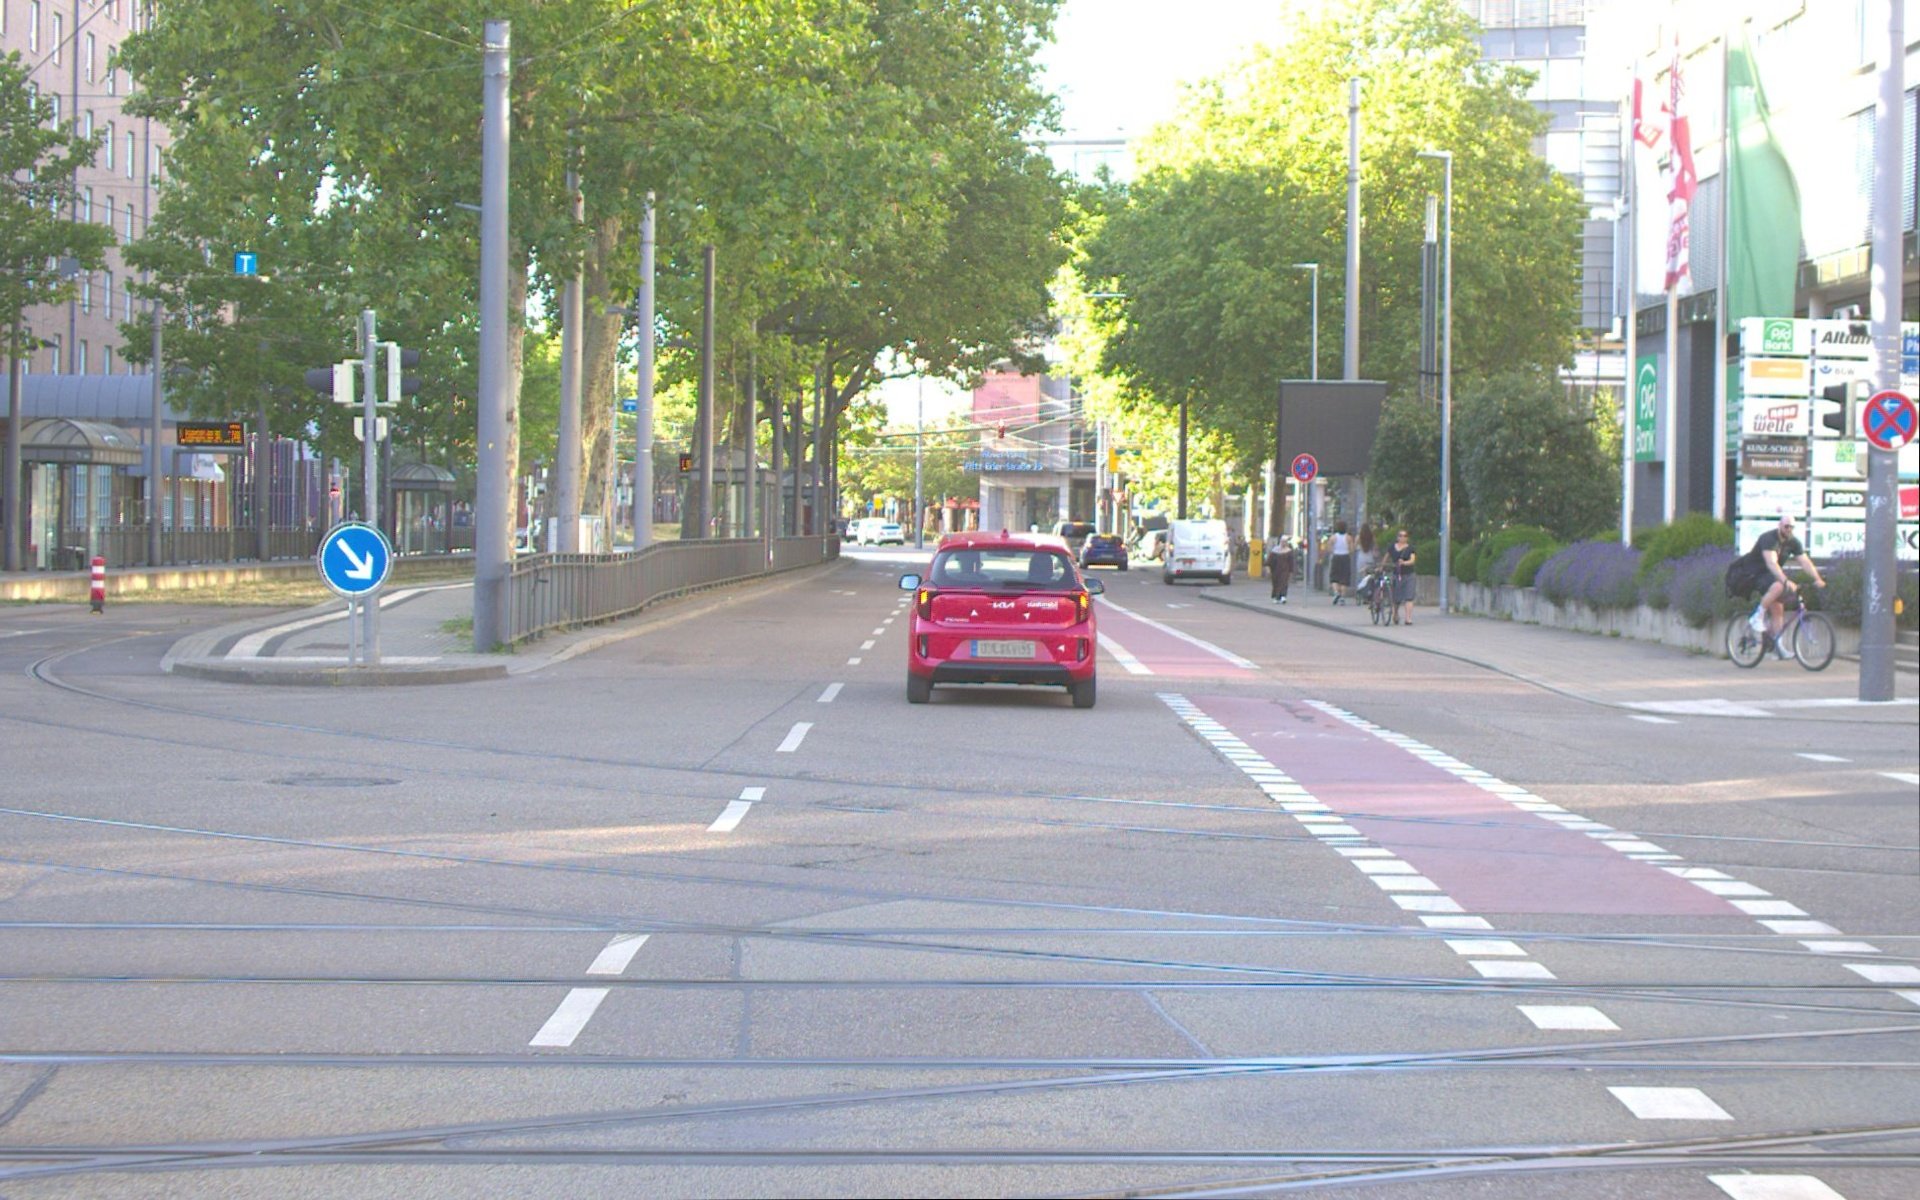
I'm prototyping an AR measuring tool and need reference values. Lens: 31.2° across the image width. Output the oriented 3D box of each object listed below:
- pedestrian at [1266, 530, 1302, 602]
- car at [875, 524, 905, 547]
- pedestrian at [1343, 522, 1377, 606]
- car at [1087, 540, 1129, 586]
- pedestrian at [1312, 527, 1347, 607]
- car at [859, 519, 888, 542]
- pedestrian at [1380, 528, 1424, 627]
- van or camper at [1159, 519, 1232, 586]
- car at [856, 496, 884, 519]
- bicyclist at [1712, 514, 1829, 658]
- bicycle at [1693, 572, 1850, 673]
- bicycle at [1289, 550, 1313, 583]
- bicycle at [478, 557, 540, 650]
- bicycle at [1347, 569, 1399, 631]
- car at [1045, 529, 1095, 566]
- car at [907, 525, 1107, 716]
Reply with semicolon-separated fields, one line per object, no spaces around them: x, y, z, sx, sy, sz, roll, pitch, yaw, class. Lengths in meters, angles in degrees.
7.251;-0.771;77.041;0.642;1.574;0.723;-3;1;-2;pedestrian
-4.700;-4.350;231.501;1.777;1.529;3.412;1;1;-5;car
8.688;-0.793;74.712;0.540;1.790;0.907;-2;1;-2;pedestrian
5.907;-1.485;137.142;1.635;1.794;3.330;1;1;2;car
8.001;-0.719;74.536;0.564;1.696;0.907;-2;1;-2;pedestrian
-6.011;-4.845;238.094;1.777;1.529;3.412;1;1;-5;car
7.565;-0.395;58.837;0.646;1.674;0.651;1;1;-1;pedestrian
7.253;-1.467;106.383;1.993;1.982;4.745;1;1;1;van or camper
-6.409;-6.552;244.076;1.777;1.583;3.412;1;1;-5;car
9.272;-0.169;39.342;0.722;1.597;1.089;-2;2;-31;bicyclist
9.278;0.248;39.364;0.696;1.094;1.751;-4;2;-30;bicycle
11.084;-1.097;111.812;0.586;1.063;1.900;0;1;-1;bicycle
-5.010;0.033;38.234;0.395;0.945;1.351;1;4;5;bicycle
7.066;-0.011;58.875;0.520;0.971;2.202;-3;2;-1;bicycle
4.777;-2.290;149.771;1.777;1.529;3.513;1;1;-5;car
0.388;0.135;30.131;1.613;1.529;3.412;1;1;0;car
